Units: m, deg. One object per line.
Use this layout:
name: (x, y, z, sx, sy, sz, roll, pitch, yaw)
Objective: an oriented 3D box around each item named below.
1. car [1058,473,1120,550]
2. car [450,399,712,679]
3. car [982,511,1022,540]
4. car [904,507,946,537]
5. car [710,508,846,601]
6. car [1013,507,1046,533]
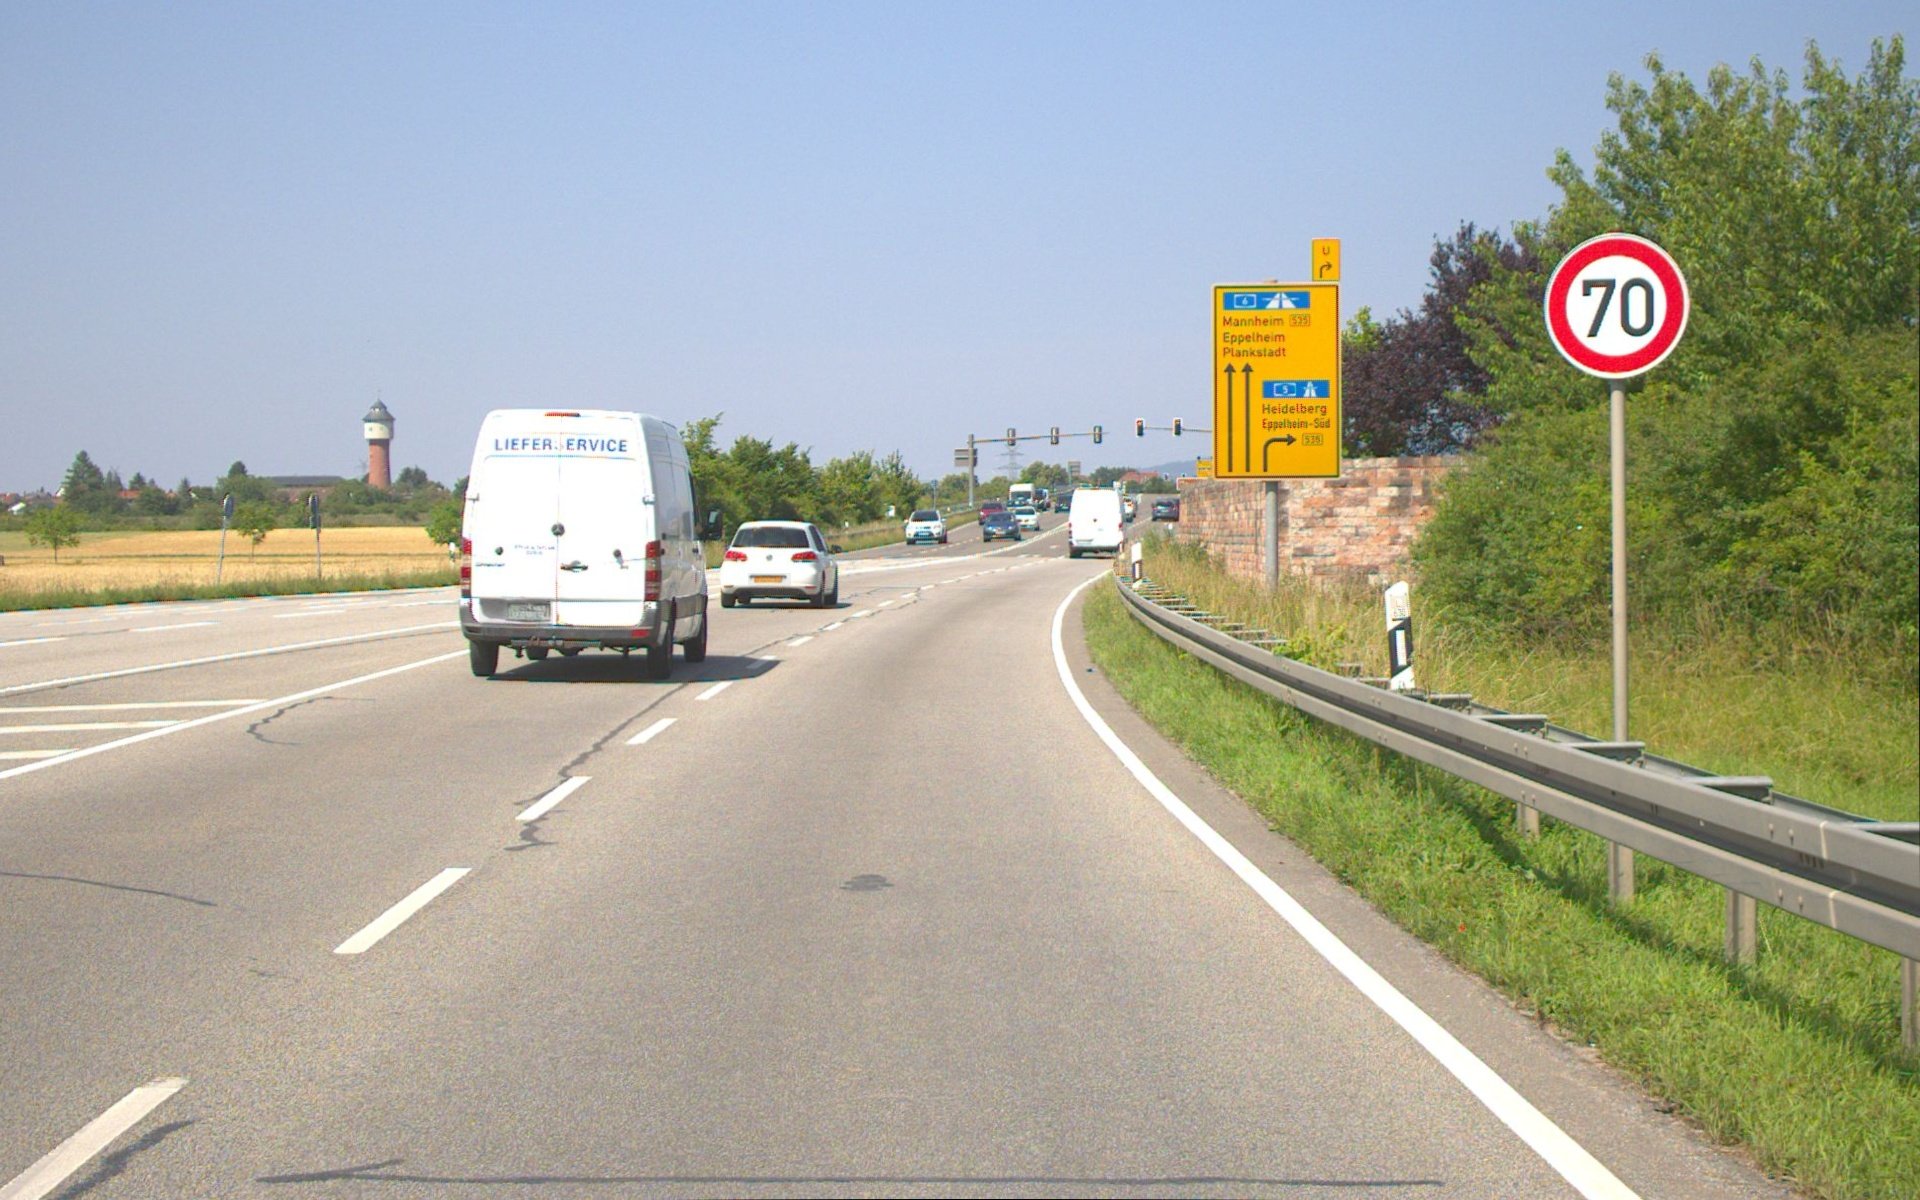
car: (4.733, -3.203, 125.756, 1.994, 2.686, 4.969, 1, 0, 4)
car: (-3.799, -0.675, 35.450, 2.039, 2.611, 5.742, 1, 2, 0)
car: (2.120, -3.746, 172.449, 1.749, 1.437, 4.081, 0, 1, 4)
car: (-1.726, -3.890, 171.327, 1.749, 1.437, 4.081, 0, 1, 4)
car: (-3.100, -0.811, 59.348, 1.800, 1.503, 4.196, 0, 2, 4)
car: (4.192, -4.809, 207.409, 1.749, 1.437, 4.081, 2, 1, 4)
